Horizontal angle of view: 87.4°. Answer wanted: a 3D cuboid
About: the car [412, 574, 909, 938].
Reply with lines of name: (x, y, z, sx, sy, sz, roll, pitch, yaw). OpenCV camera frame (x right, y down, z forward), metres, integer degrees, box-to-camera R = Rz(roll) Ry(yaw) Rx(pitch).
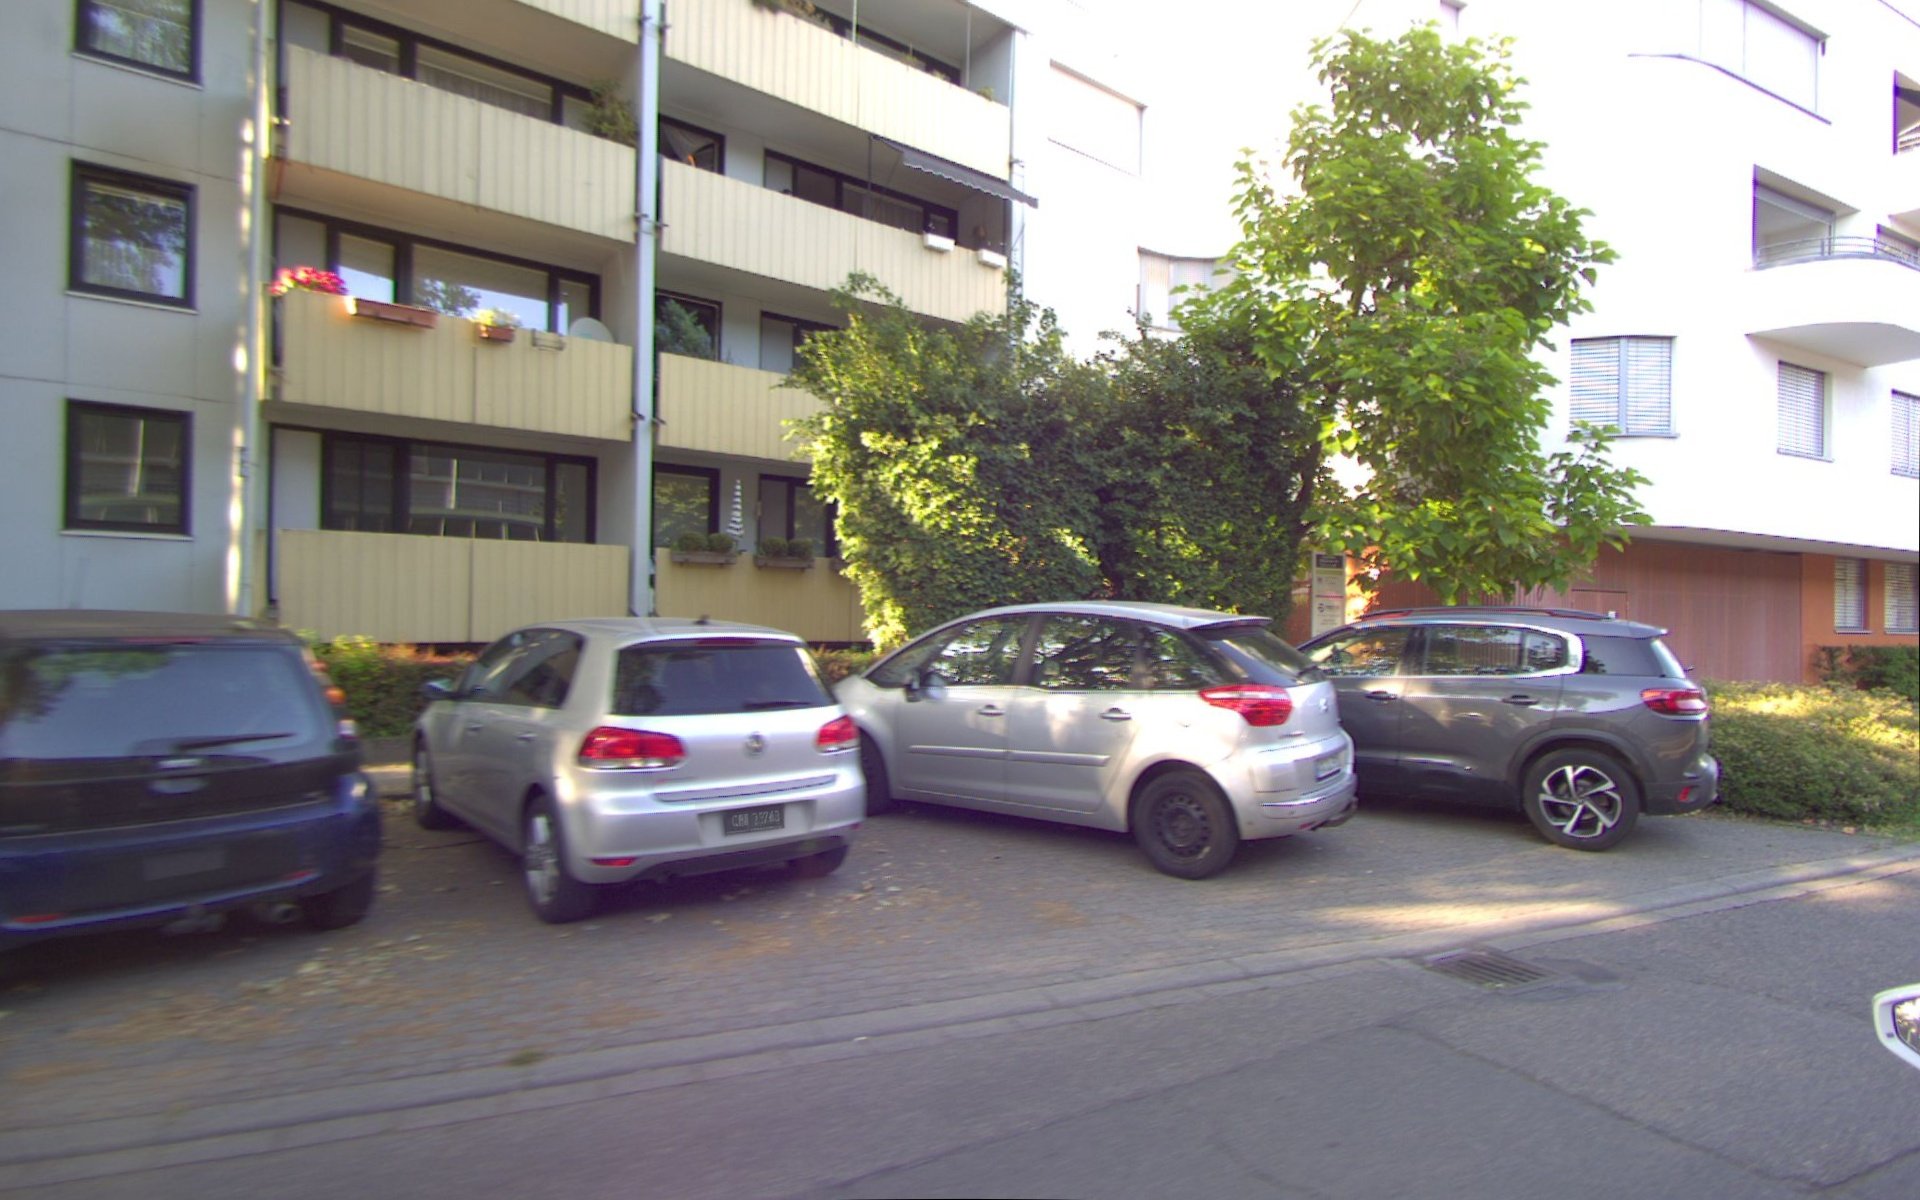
car: (-2.101, 0.674, 6.352, 1.686, 1.581, 3.607, 2, 0, -40)

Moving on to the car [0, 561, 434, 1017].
car: (-4.413, 0.612, 5.031, 3.590, 1.581, 1.694, 2, 0, 36)

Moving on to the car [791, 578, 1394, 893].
car: (0.832, 0.738, 7.484, 4.073, 1.662, 1.770, 2, 0, 37)

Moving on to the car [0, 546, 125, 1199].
car: (-3.774, 0.603, 0.668, 4.561, 1.556, 1.893, 2, -3, -27)

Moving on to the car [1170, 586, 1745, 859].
car: (3.930, 0.806, 8.350, 3.892, 1.684, 1.695, 2, 0, 33)
